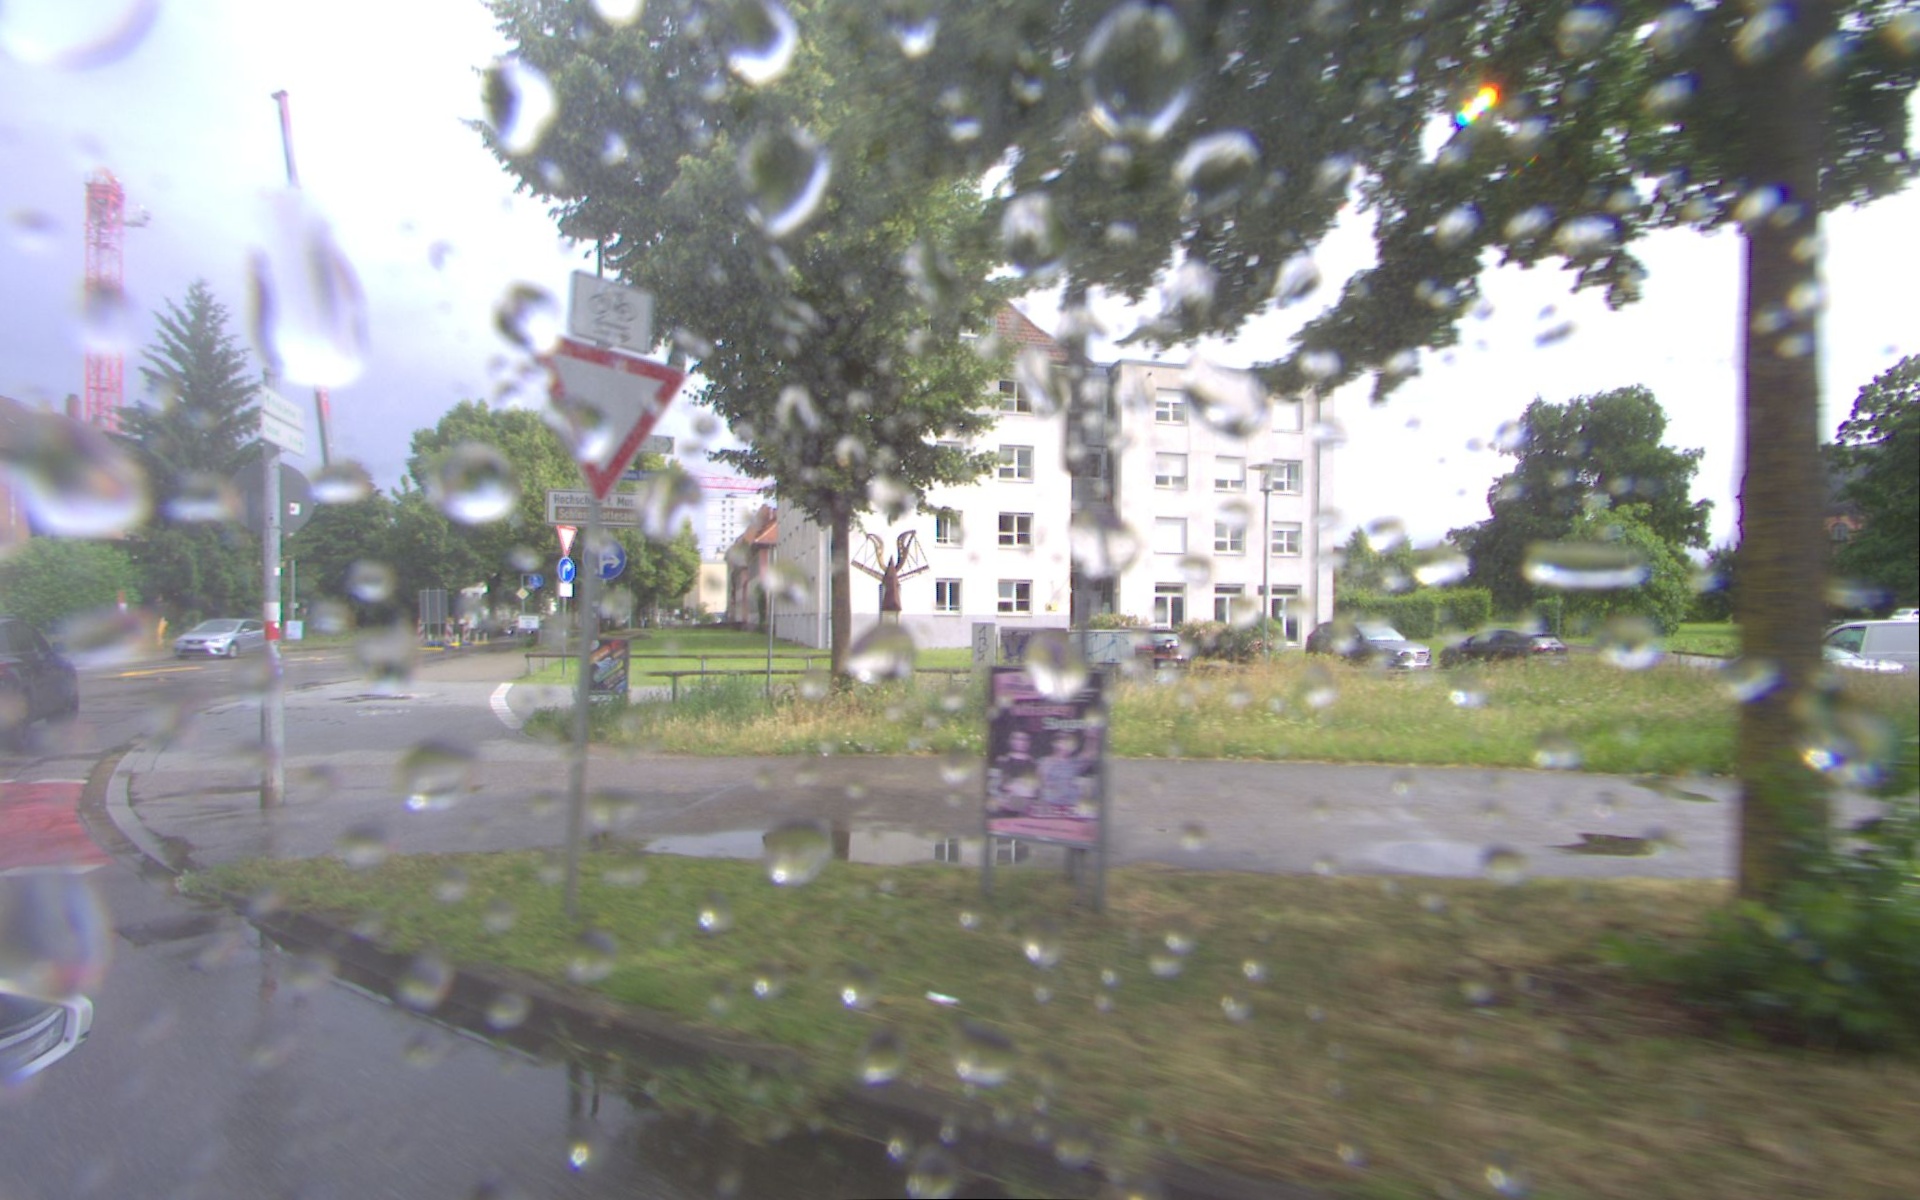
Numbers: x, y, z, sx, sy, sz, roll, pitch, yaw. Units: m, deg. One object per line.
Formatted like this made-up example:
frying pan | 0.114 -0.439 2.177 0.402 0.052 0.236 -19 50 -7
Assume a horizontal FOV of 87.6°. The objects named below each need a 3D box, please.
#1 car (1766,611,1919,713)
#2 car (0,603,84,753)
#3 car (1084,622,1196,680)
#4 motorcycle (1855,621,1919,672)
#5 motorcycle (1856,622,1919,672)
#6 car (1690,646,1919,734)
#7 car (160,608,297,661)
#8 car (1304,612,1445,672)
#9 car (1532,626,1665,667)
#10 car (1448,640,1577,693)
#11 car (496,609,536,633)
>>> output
car | 20.609 1.291 21.393 2.074 2.085 5.156 0 0 -11
car | -12.137 0.851 12.222 1.881 1.638 3.969 2 -1 -37
car | 5.110 1.419 28.932 1.647 1.502 3.732 1 -1 -18
motorcycle | 34.260 1.696 36.531 0.648 1.790 2.345 3 -1 -18
motorcycle | 34.758 1.730 37.031 0.648 1.790 2.345 3 -1 -18
car | 17.095 1.741 20.287 1.579 1.529 3.618 1 -1 -12
car | -27.000 1.239 37.182 2.042 1.754 4.696 3 -1 -8
car | 12.613 1.226 30.788 1.819 1.573 4.097 1 1 -16
car | 21.010 1.500 33.113 1.633 1.252 3.577 1 -1 -14
car | 17.674 2.087 32.238 1.633 1.364 3.575 1 2 -13
car | -35.367 1.615 79.859 2.045 1.754 4.691 3 -1 -14
